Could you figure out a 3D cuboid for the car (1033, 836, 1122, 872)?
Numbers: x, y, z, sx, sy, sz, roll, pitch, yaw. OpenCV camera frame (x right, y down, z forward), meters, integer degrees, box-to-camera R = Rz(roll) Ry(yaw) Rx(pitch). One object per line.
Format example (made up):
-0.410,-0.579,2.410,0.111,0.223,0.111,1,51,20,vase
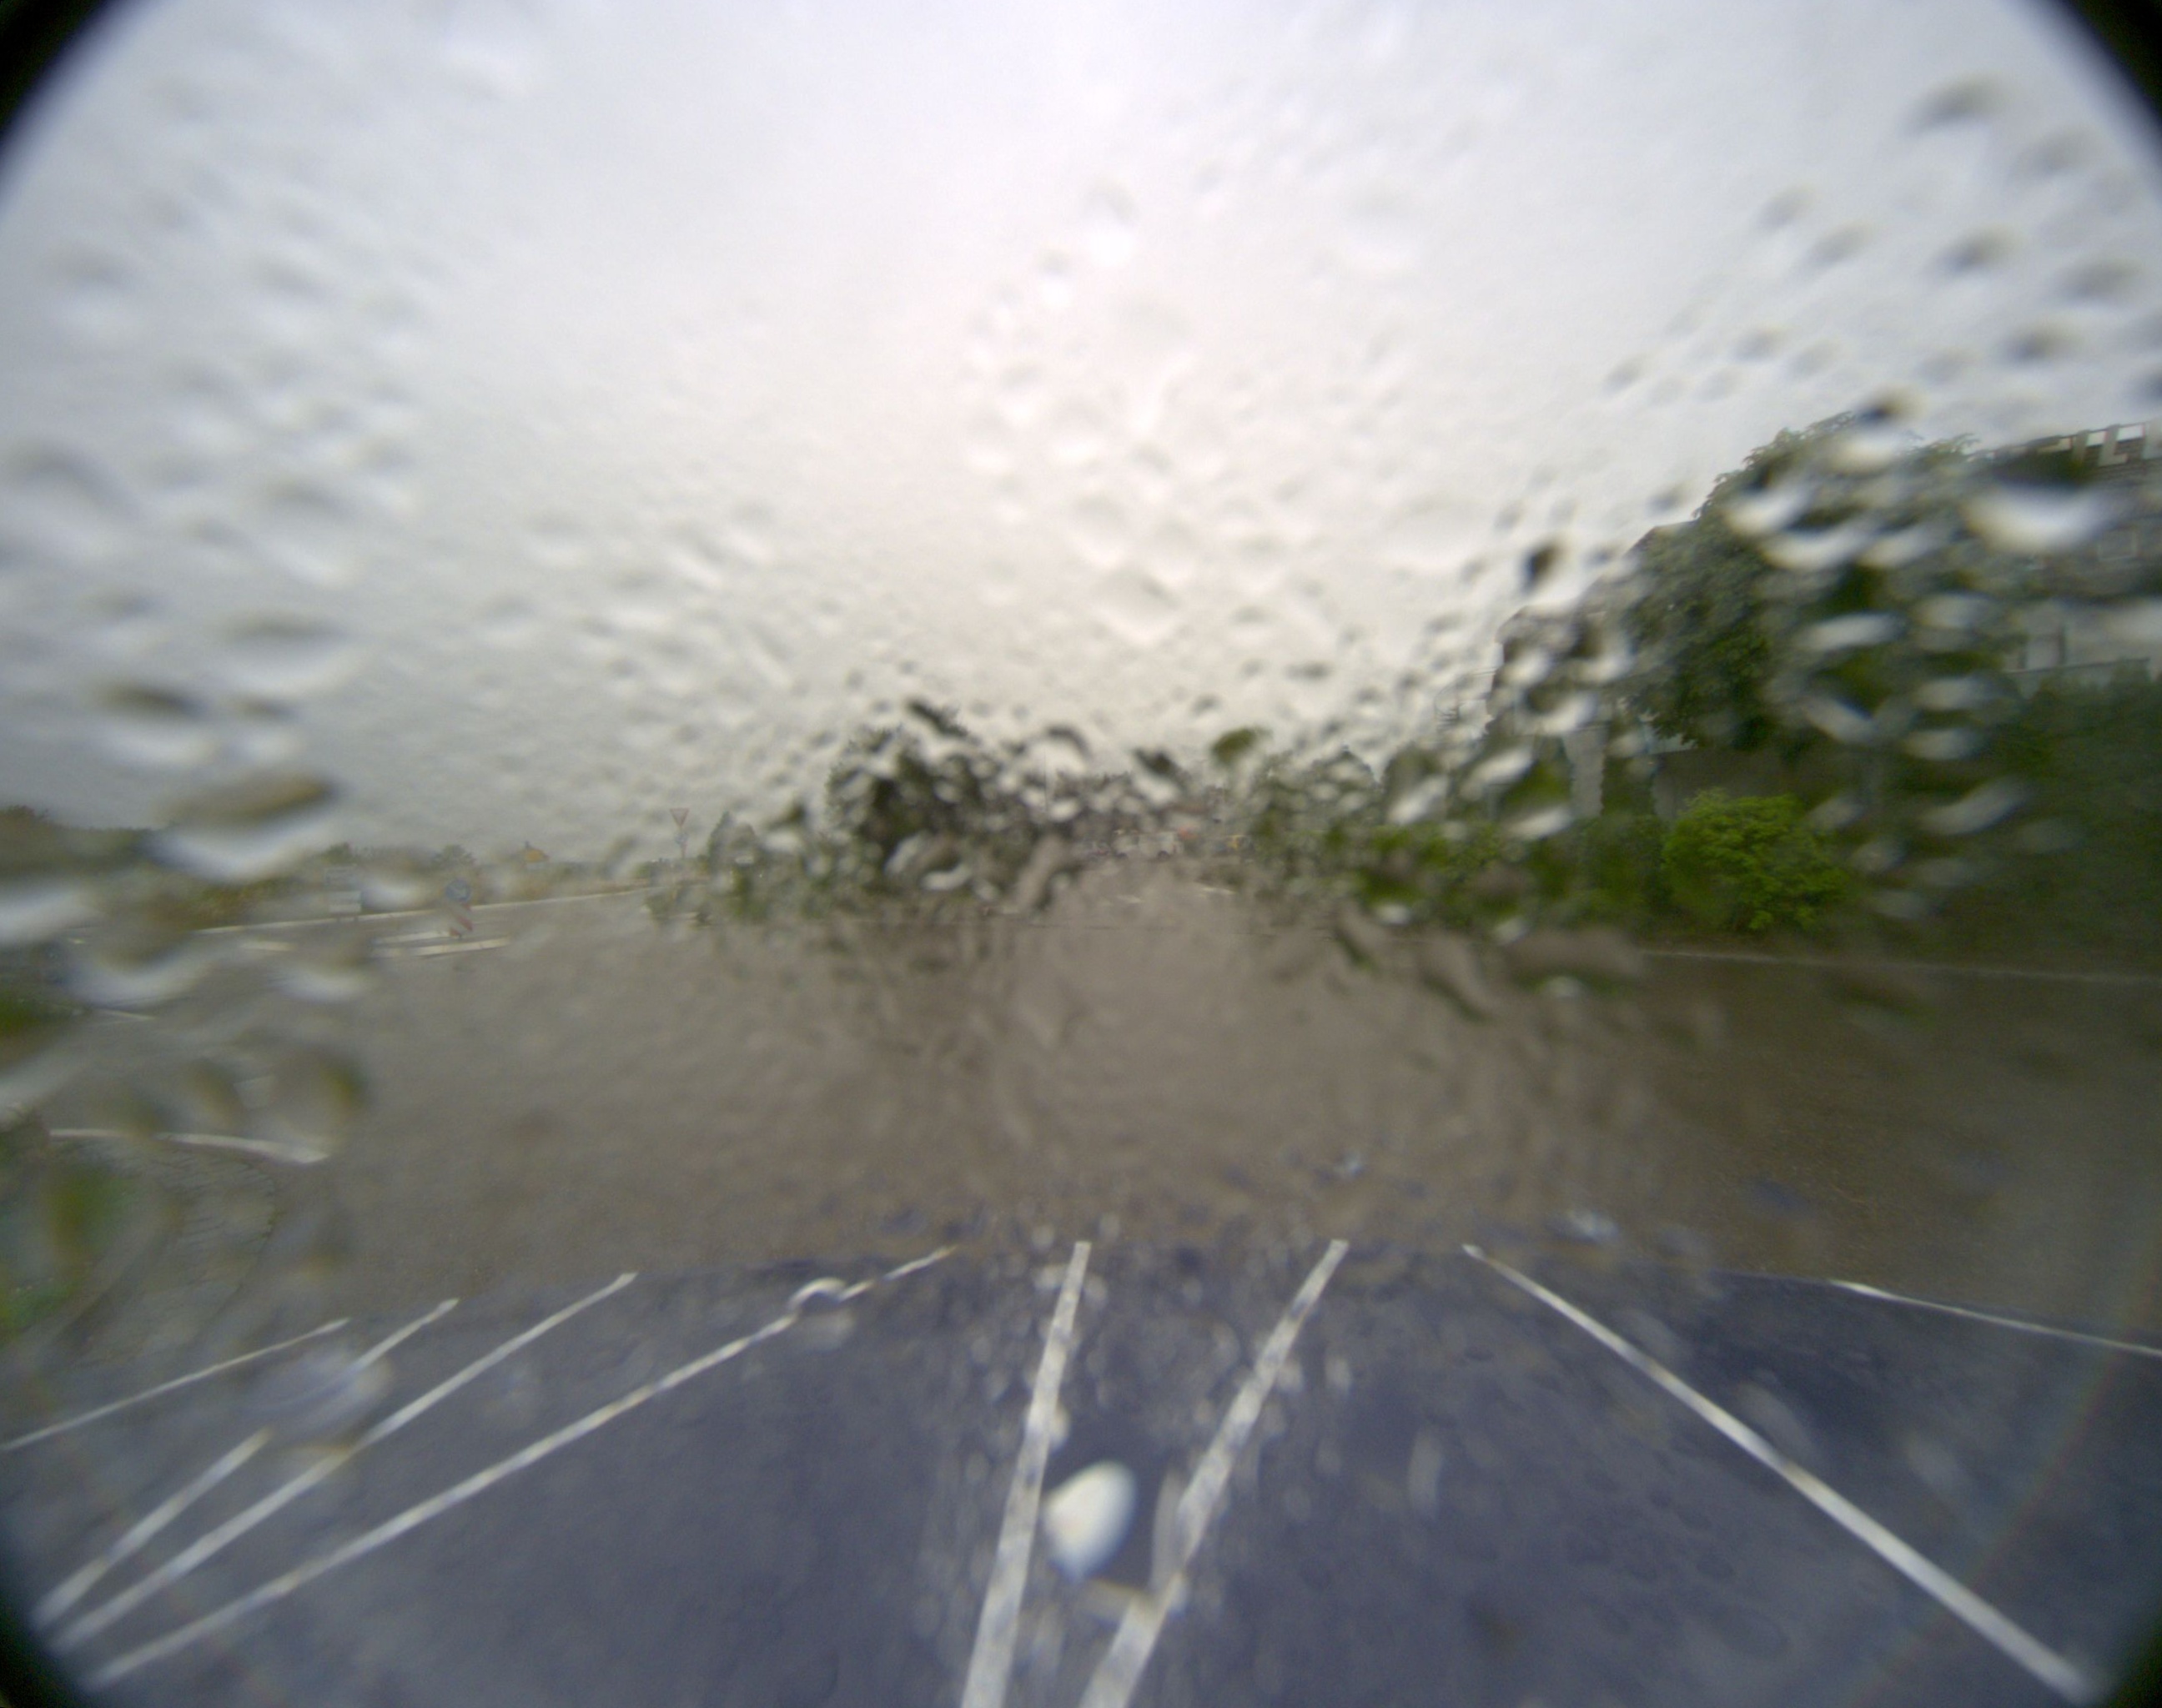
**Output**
-0.221,-0.009,43.704,4.598,1.712,2.003,-4,1,27,car

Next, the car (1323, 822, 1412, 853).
15.767,-0.923,41.874,4.350,1.417,1.853,-3,1,26,car

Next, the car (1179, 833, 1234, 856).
9.558,-0.700,58.298,2.001,1.541,4.641,-4,0,-20,car

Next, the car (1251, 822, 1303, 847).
15.936,-1.550,61.861,1.992,1.718,3.993,-4,1,-23,car

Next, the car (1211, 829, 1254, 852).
11.869,-1.039,59.737,1.667,1.540,3.721,-4,1,-18,car

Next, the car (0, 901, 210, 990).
-22.517,2.012,16.533,4.498,1.565,1.999,-3,1,-3,car

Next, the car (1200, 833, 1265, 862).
8.331,-0.351,42.269,1.707,1.417,4.354,-5,1,-15,car

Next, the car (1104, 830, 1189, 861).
4.503,-0.572,52.420,5.365,1.712,2.003,-4,1,27,car
